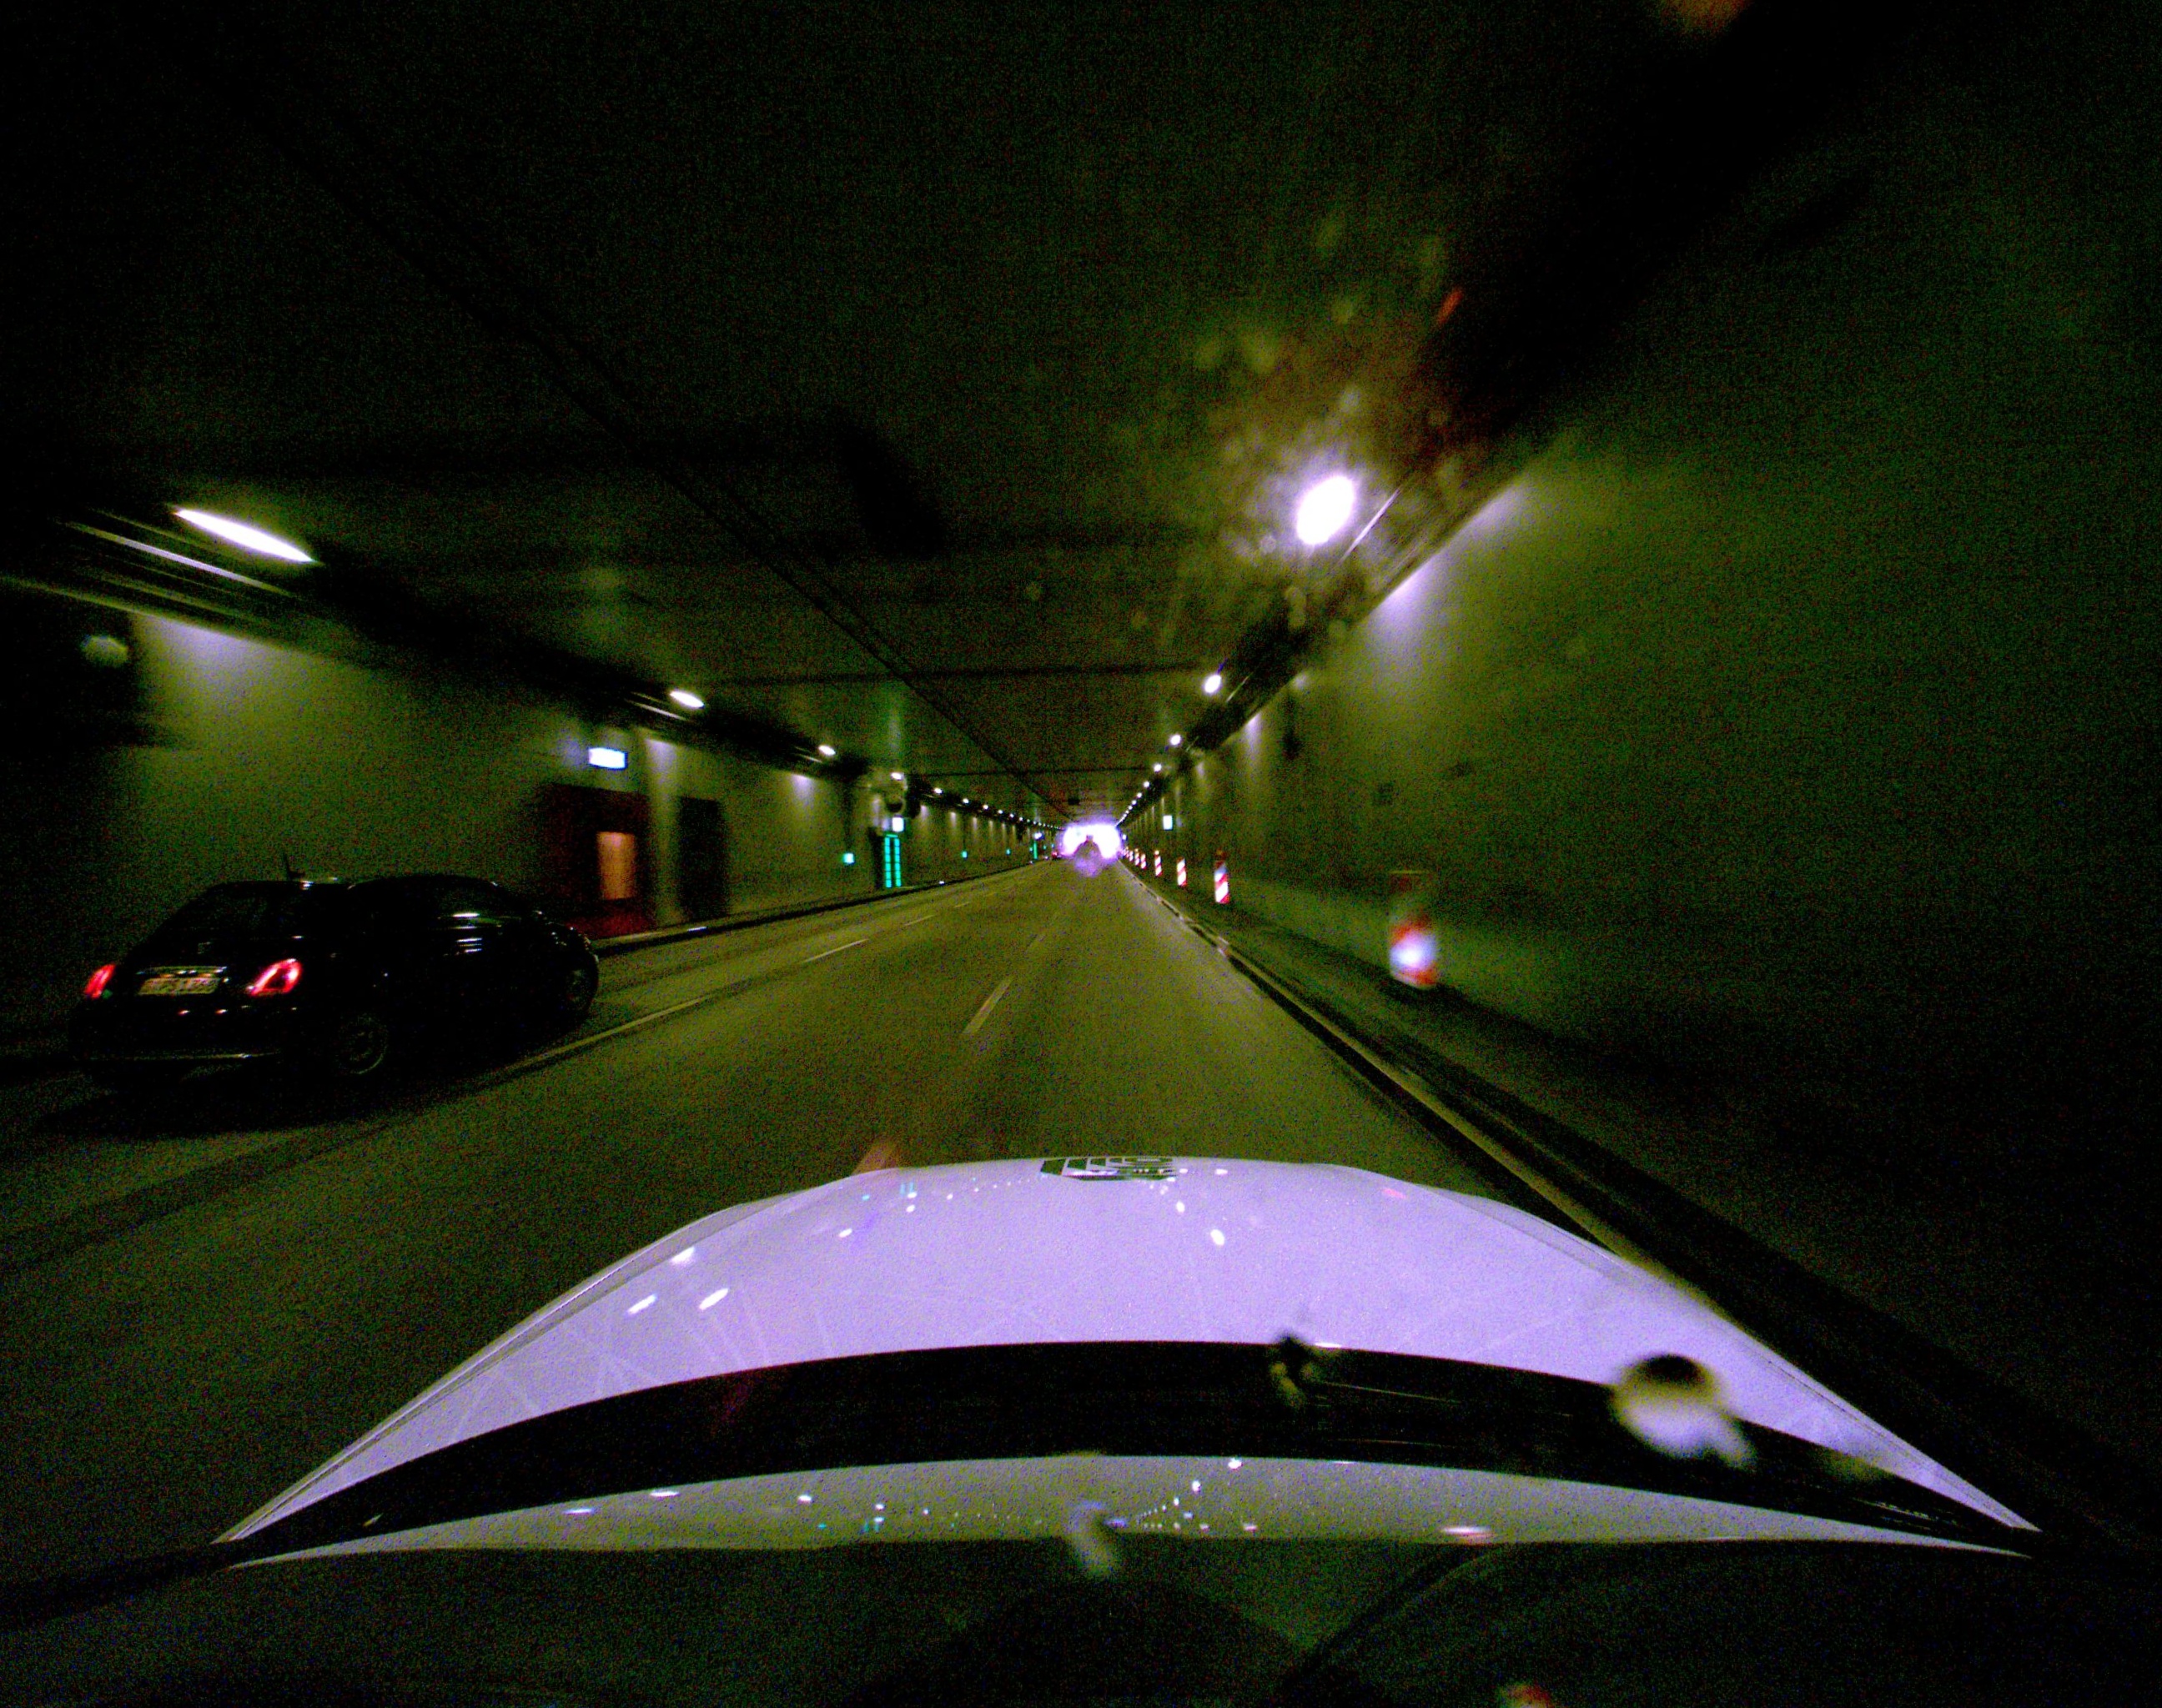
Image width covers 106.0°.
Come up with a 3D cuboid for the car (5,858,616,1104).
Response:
[{"bbox_3d":[-5.749,0.789,6.781,1.606,1.454,3.574,-1,0,1],"label":"car"}]

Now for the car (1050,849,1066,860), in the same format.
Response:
[{"bbox_3d":[-3.009,0.019,106.066,1.989,1.448,4.311,0,0,-2],"label":"car"}]

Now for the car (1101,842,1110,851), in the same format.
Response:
[{"bbox_3d":[5.662,-1.701,186.639,1.986,2.013,4.002,-1,0,2],"label":"car"}]

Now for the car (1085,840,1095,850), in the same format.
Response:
[{"bbox_3d":[1.969,-1.854,169.504,1.986,2.013,4.002,-1,0,2],"label":"car"}]
